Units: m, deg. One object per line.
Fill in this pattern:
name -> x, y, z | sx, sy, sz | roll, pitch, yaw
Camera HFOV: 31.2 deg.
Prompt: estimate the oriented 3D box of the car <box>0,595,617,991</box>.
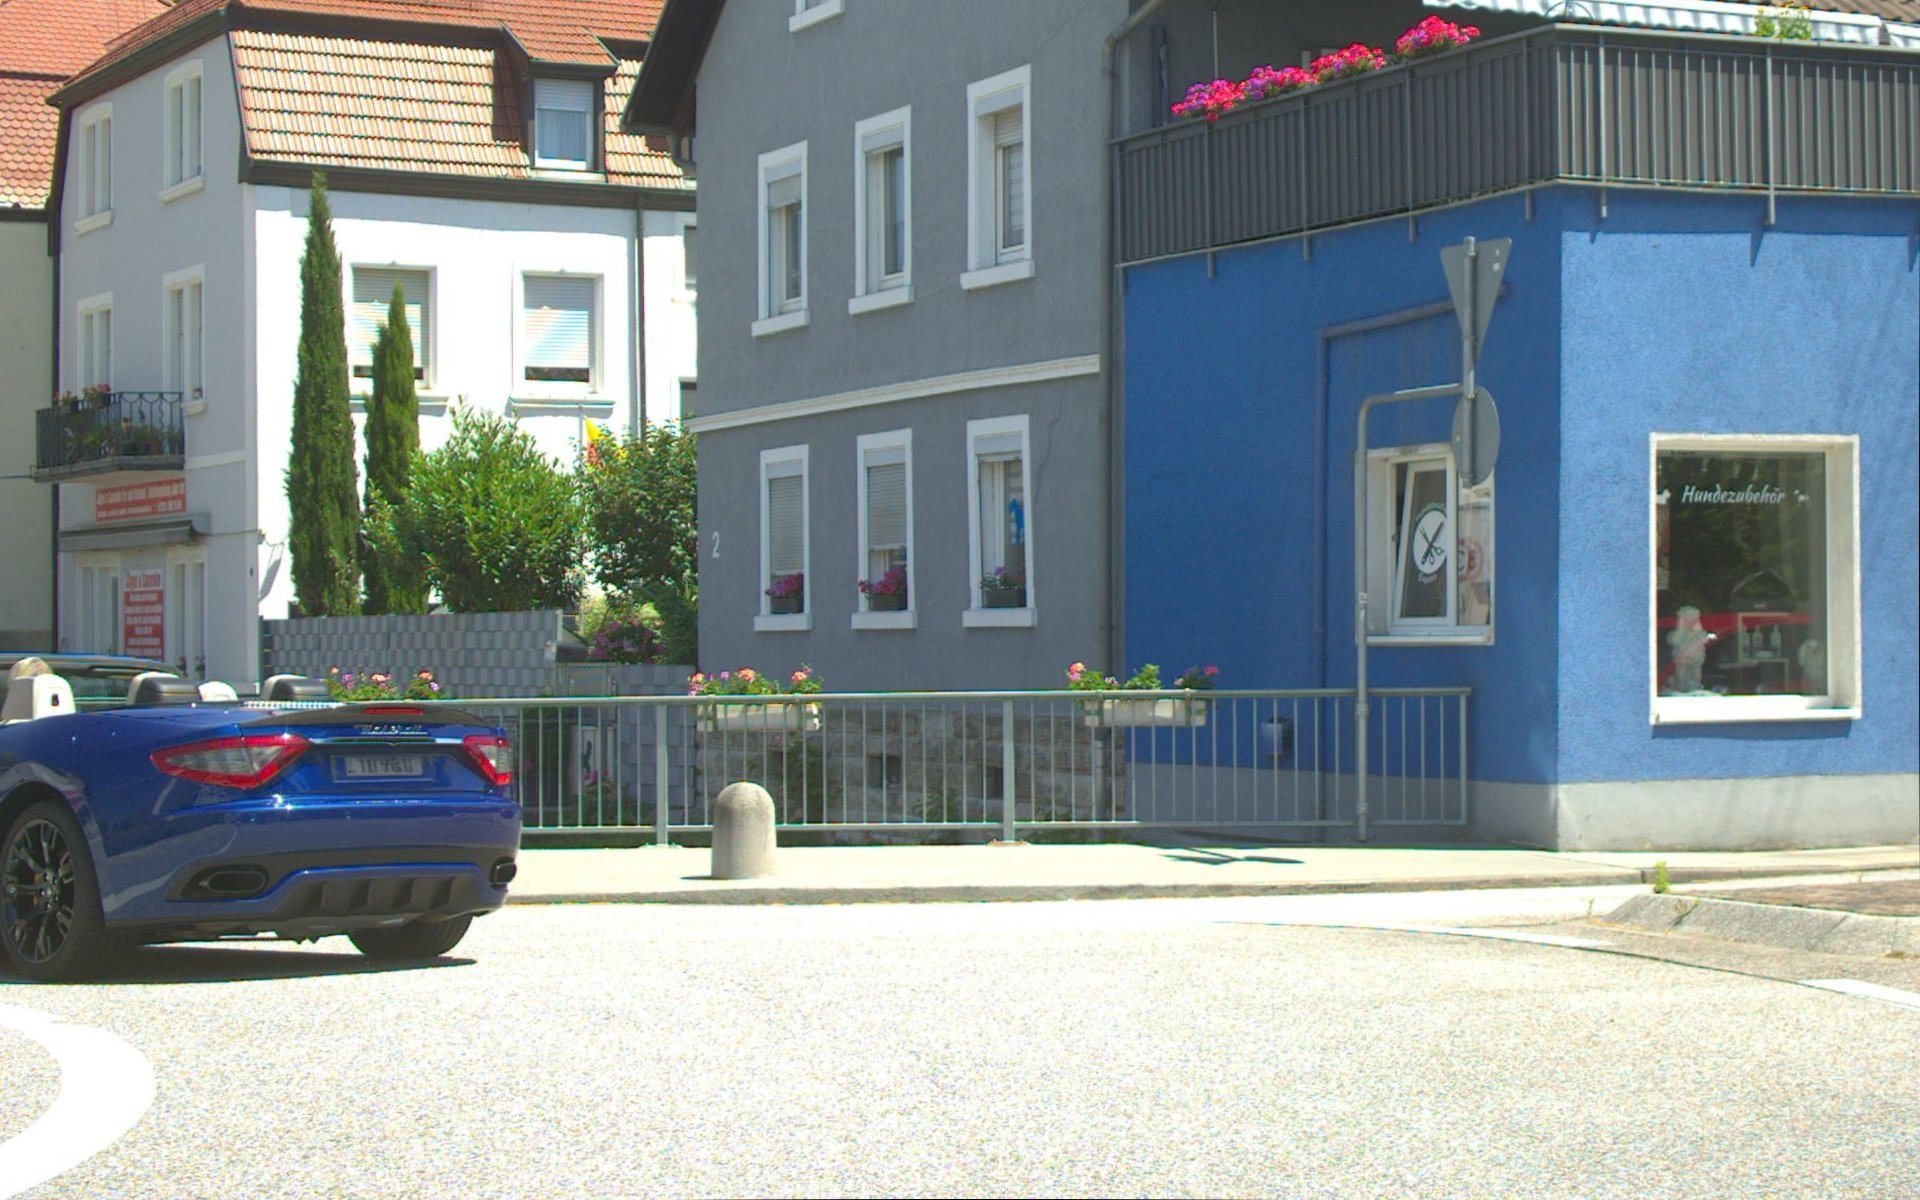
car -> -3.774, 0.804, 14.361 | 4.622, 1.393, 1.978 | -3, -3, 40
